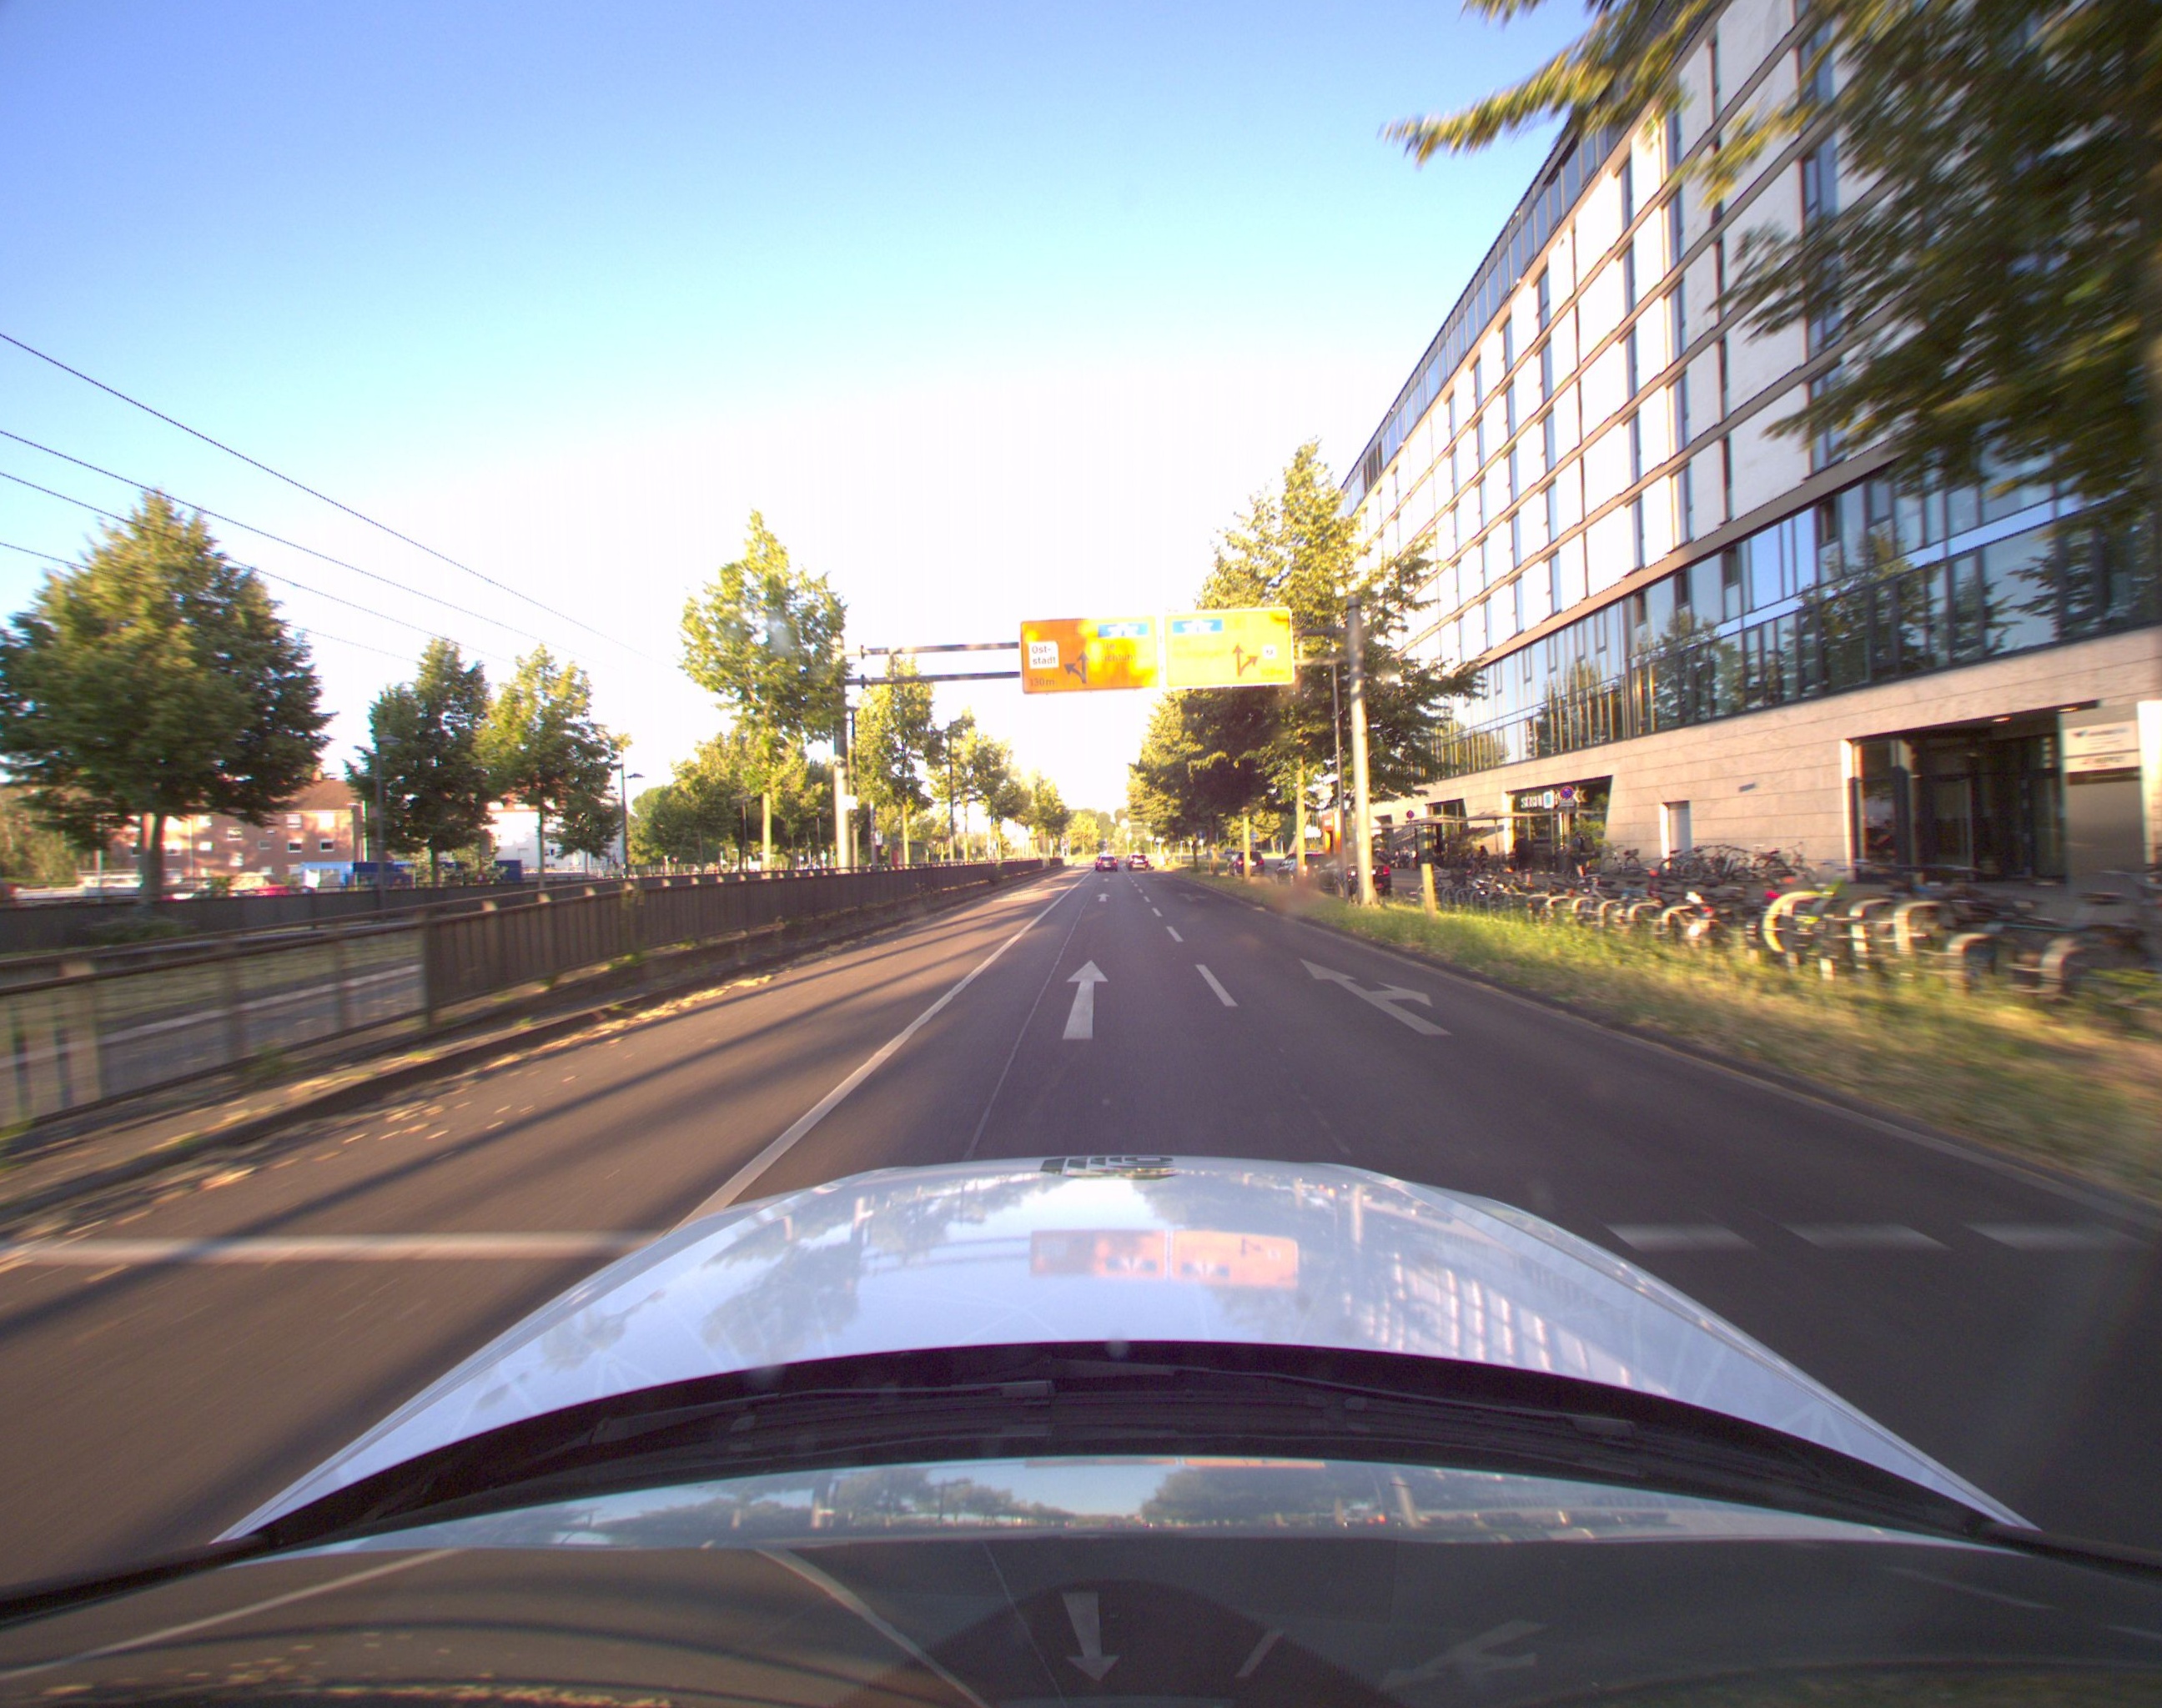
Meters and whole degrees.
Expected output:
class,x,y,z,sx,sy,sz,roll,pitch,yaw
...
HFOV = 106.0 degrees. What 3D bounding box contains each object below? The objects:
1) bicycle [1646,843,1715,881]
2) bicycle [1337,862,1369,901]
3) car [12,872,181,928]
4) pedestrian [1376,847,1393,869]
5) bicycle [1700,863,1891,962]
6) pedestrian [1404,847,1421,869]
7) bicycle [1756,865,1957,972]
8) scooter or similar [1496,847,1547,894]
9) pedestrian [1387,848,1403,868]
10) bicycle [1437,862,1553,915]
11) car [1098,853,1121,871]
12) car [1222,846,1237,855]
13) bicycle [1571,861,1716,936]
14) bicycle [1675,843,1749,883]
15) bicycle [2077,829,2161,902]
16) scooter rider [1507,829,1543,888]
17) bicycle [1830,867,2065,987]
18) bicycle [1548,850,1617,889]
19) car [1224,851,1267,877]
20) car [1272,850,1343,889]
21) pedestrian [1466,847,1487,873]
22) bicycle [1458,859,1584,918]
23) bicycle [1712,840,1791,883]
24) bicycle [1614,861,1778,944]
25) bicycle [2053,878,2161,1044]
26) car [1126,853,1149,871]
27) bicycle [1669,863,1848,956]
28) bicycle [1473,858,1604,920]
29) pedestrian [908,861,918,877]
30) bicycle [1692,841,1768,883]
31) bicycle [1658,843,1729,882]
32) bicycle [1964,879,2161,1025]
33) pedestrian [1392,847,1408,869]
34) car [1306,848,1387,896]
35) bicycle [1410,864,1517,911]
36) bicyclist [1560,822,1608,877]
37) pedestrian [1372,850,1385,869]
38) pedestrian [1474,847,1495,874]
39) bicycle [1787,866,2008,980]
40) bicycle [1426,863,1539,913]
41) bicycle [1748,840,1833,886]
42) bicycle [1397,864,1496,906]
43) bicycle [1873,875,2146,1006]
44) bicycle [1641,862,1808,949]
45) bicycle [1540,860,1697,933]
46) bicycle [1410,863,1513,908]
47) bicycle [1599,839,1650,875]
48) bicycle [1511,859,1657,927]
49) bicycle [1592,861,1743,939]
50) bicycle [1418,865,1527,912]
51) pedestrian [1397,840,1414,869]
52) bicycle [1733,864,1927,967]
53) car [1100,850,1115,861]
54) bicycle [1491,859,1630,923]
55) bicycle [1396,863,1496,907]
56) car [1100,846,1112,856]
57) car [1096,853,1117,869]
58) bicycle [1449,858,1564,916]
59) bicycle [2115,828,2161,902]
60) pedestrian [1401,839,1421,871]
class,x,y,z,sx,sy,sz,roll,pitch,yaw
bicycle,18.452,0.245,25.078,1.780,1.104,0.508,-2,-1,-3
bicycle,7.252,0.719,21.769,0.317,0.980,1.848,-2,0,3
car,-45.393,2.028,37.831,2.425,2.224,5.875,-2,0,-22
pedestrian,18.194,0.258,48.859,0.627,1.283,0.712,-2,0,-20
bicycle,8.116,0.657,9.263,1.939,1.054,0.413,1,0,-6
pedestrian,19.762,0.245,48.613,0.580,1.283,0.735,-2,0,-16
bicycle,8.037,0.668,8.447,1.939,1.054,0.314,1,0,-6
scooter or similar,12.722,0.457,23.553,0.524,1.310,1.664,-2,0,0
pedestrian,19.716,0.250,51.166,0.618,1.186,0.713,-2,0,-35
bicycle,8.238,0.690,16.213,2.139,0.986,0.442,1,0,-5
car,2.501,0.710,71.934,1.905,1.486,4.001,-2,0,1
car,29.830,-0.779,163.518,1.975,1.728,4.024,-2,0,27
bicycle,8.294,0.653,12.025,1.938,1.054,0.404,1,0,-5
bicycle,18.357,0.260,23.715,1.780,1.104,0.508,-2,-1,-3
bicycle,17.693,0.166,13.418,1.977,1.141,0.503,-2,0,-2
scooter rider,12.712,0.124,23.334,0.524,1.638,0.832,-2,0,0
bicycle,8.080,0.678,7.610,1.939,1.054,0.408,1,0,-6
bicycle,14.913,0.434,24.289,0.769,1.079,2.063,-2,0,0
car,9.948,0.603,49.528,1.751,1.466,4.157,-2,0,0
car,9.410,0.602,34.200,1.772,1.472,4.288,-2,0,0
pedestrian,18.410,0.271,37.958,0.569,1.195,0.807,-2,0,2
bicycle,8.278,0.641,15.336,2.139,1.054,0.524,1,0,-5
bicycle,18.439,0.205,22.422,1.780,1.104,0.508,-2,-1,-3
bicycle,8.342,0.647,11.069,1.936,1.054,0.404,1,0,-2
bicycle,7.864,0.721,5.700,1.944,1.054,0.543,1,0,-13
car,5.136,0.720,74.845,1.905,1.486,4.001,-2,0,1
bicycle,8.151,0.662,9.815,1.939,1.054,0.413,1,0,-6
bicycle,8.297,0.637,14.779,2.139,1.054,0.524,1,0,-5
pedestrian,-14.550,1.283,70.543,0.613,1.319,0.744,-2,0,-2
bicycle,18.348,0.221,23.044,1.780,1.104,0.508,-2,-1,-3
bicycle,18.425,0.251,24.523,1.780,1.104,0.508,-2,-1,-3
bicycle,8.054,0.751,6.390,1.941,1.054,0.543,1,0,-9
pedestrian,19.034,0.253,48.604,0.577,1.283,0.738,-2,0,-2
car,8.862,0.565,27.469,1.569,1.472,3.884,-2,0,3
bicycle,8.274,0.723,17.634,2.139,0.939,0.451,1,0,-5
bicyclist,14.896,-0.118,24.149,0.769,1.566,0.992,-2,0,-1
pedestrian,19.071,0.352,52.227,0.569,1.186,0.862,-2,0,3
pedestrian,18.345,0.282,37.016,0.569,1.195,0.807,-2,0,4
bicycle,8.054,0.673,8.048,1.939,1.054,0.408,1,0,-6
bicycle,8.226,0.697,16.702,2.139,0.973,0.442,1,0,-5
bicycle,18.307,0.221,21.032,1.780,1.104,0.508,-2,-1,-3
bicycle,8.600,0.728,19.192,2.139,0.939,0.544,1,0,-5
bicycle,8.035,0.739,7.072,1.939,1.054,0.544,1,0,-6
bicycle,8.262,0.654,10.469,1.939,1.054,0.413,1,0,-6
bicycle,8.328,0.650,12.648,2.139,1.054,0.570,1,0,-5
bicycle,8.429,0.701,18.057,2.139,0.939,0.442,1,0,-5
bicycle,19.274,0.091,28.924,0.467,1.208,2.266,-2,0,6
bicycle,8.344,0.641,13.538,2.139,1.054,0.561,1,0,-5
bicycle,8.312,0.646,11.554,1.938,1.054,0.404,1,0,-5
bicycle,8.239,0.724,17.173,2.139,0.939,0.442,1,0,-5
pedestrian,19.706,0.017,49.450,0.636,1.718,0.695,-2,0,-18
bicycle,8.104,0.662,8.818,1.939,1.054,0.347,1,0,-6
car,3.661,0.250,113.316,1.905,1.486,4.001,-2,0,1
bicycle,8.320,0.634,14.166,2.139,1.054,0.570,1,0,-5
bicycle,8.372,0.711,18.673,2.139,0.939,0.442,1,0,-5
car,3.974,-0.446,130.083,1.905,1.486,4.001,-2,0,1
car,2.414,0.656,78.544,1.905,1.486,4.001,-2,0,1
bicycle,8.242,0.641,15.786,2.139,1.054,0.300,1,0,-5
bicycle,17.645,0.136,12.876,1.977,1.141,0.503,-2,0,-2
pedestrian,18.285,0.039,45.111,0.707,1.737,0.683,-2,0,-28
